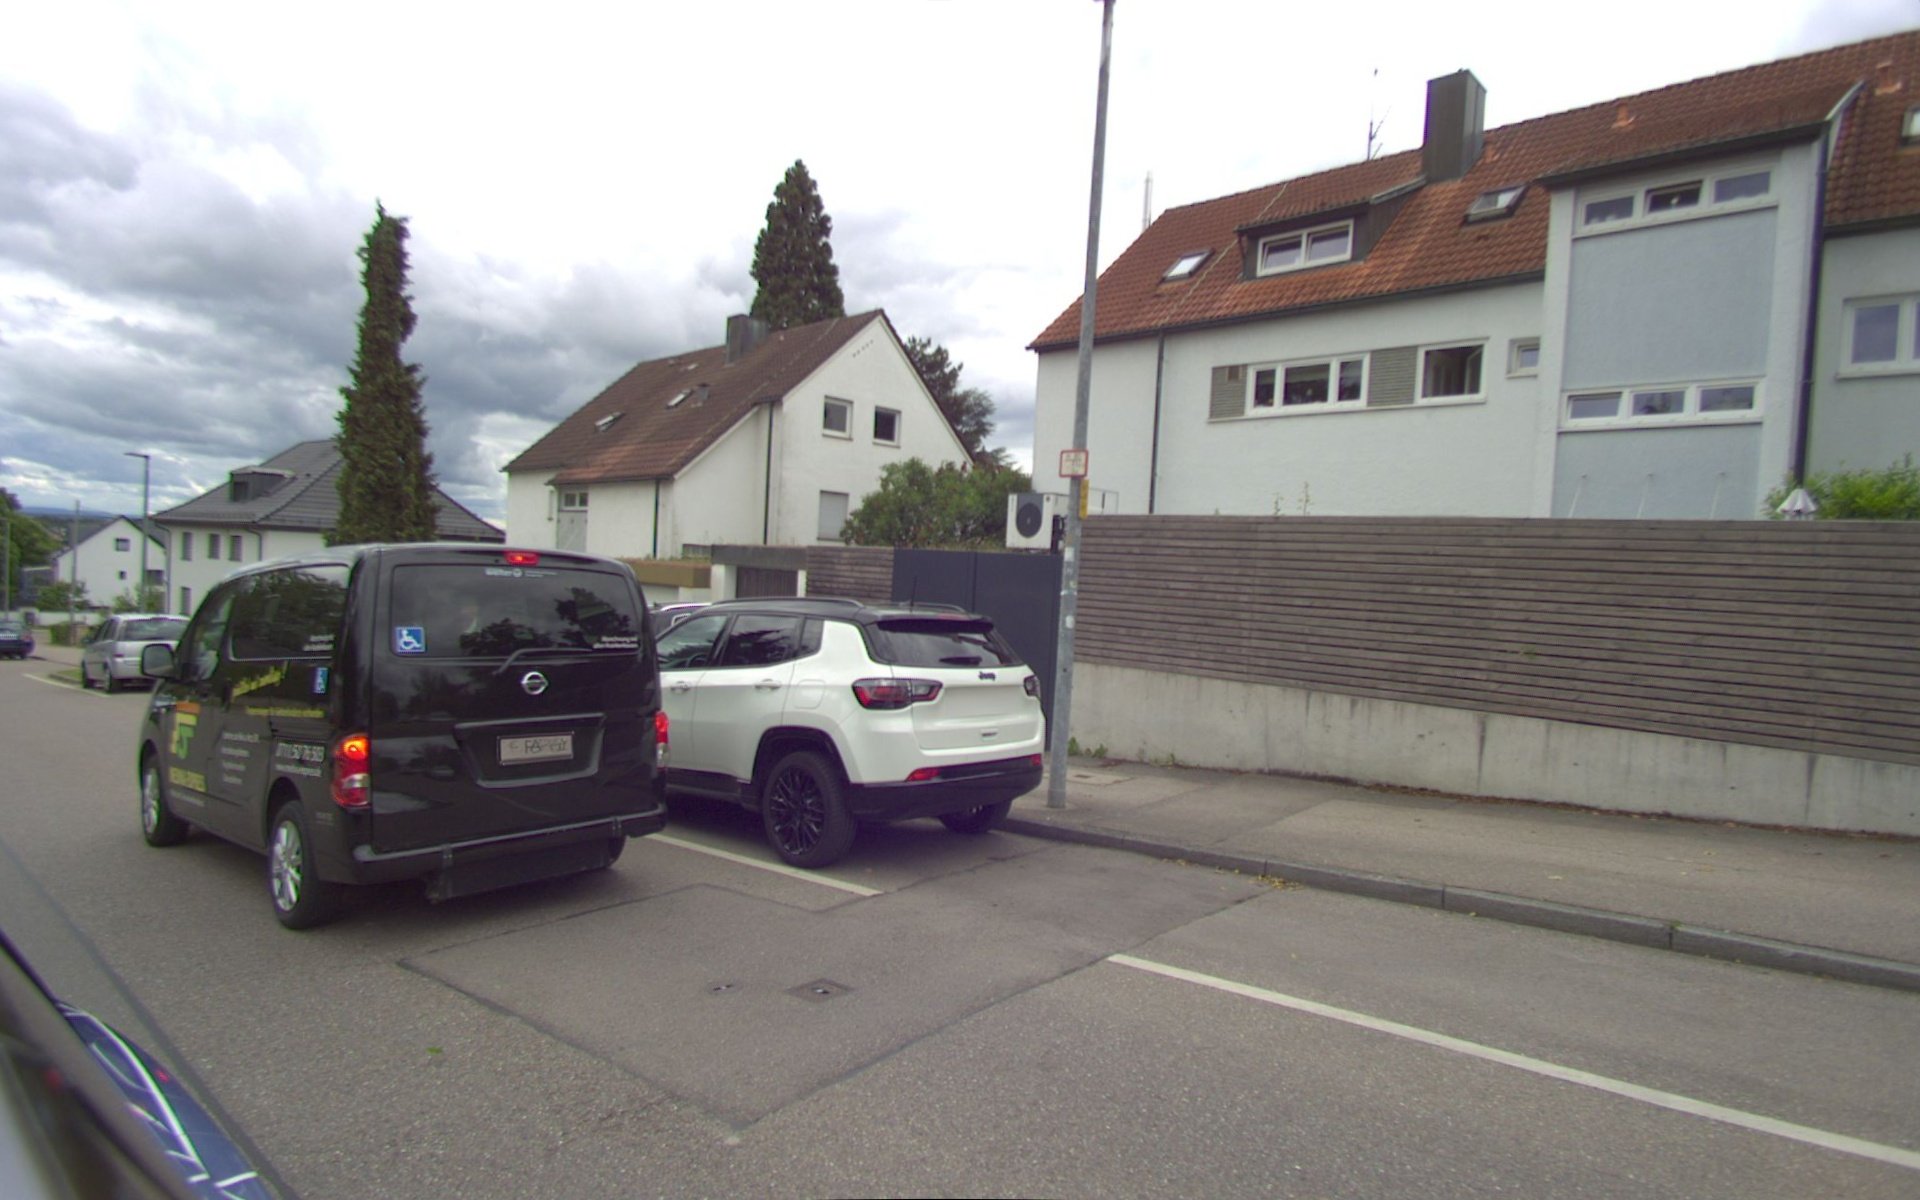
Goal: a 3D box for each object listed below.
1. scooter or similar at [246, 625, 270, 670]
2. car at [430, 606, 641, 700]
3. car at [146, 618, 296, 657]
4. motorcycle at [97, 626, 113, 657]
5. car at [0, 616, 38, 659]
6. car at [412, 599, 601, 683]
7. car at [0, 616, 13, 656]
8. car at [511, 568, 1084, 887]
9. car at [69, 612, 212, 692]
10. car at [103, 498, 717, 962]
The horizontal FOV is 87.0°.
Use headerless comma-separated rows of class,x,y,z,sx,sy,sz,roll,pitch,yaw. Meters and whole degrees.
scooter or similar,-19.298,1.286,27.816,0.468,1.157,1.458,-2,0,-33
car,-8.233,0.955,19.807,1.692,1.523,3.393,1,2,42
car,-27.945,1.388,38.381,1.900,1.378,4.248,-1,-1,35
motorcycle,-35.119,1.690,41.559,0.424,1.169,1.865,2,-1,-41
car,-36.044,1.390,37.883,3.506,1.548,1.858,-1,-1,41
car,-9.876,0.824,22.207,1.656,1.590,3.393,1,2,42
car,-40.338,1.445,41.459,3.870,1.597,1.858,-1,-1,41
car,-1.420,0.731,7.503,4.407,1.679,1.817,-1,-3,42
car,-17.860,1.078,21.991,3.853,1.575,1.742,-1,-2,41
car,-3.599,0.568,6.235,4.399,1.865,1.865,-1,-2,41
